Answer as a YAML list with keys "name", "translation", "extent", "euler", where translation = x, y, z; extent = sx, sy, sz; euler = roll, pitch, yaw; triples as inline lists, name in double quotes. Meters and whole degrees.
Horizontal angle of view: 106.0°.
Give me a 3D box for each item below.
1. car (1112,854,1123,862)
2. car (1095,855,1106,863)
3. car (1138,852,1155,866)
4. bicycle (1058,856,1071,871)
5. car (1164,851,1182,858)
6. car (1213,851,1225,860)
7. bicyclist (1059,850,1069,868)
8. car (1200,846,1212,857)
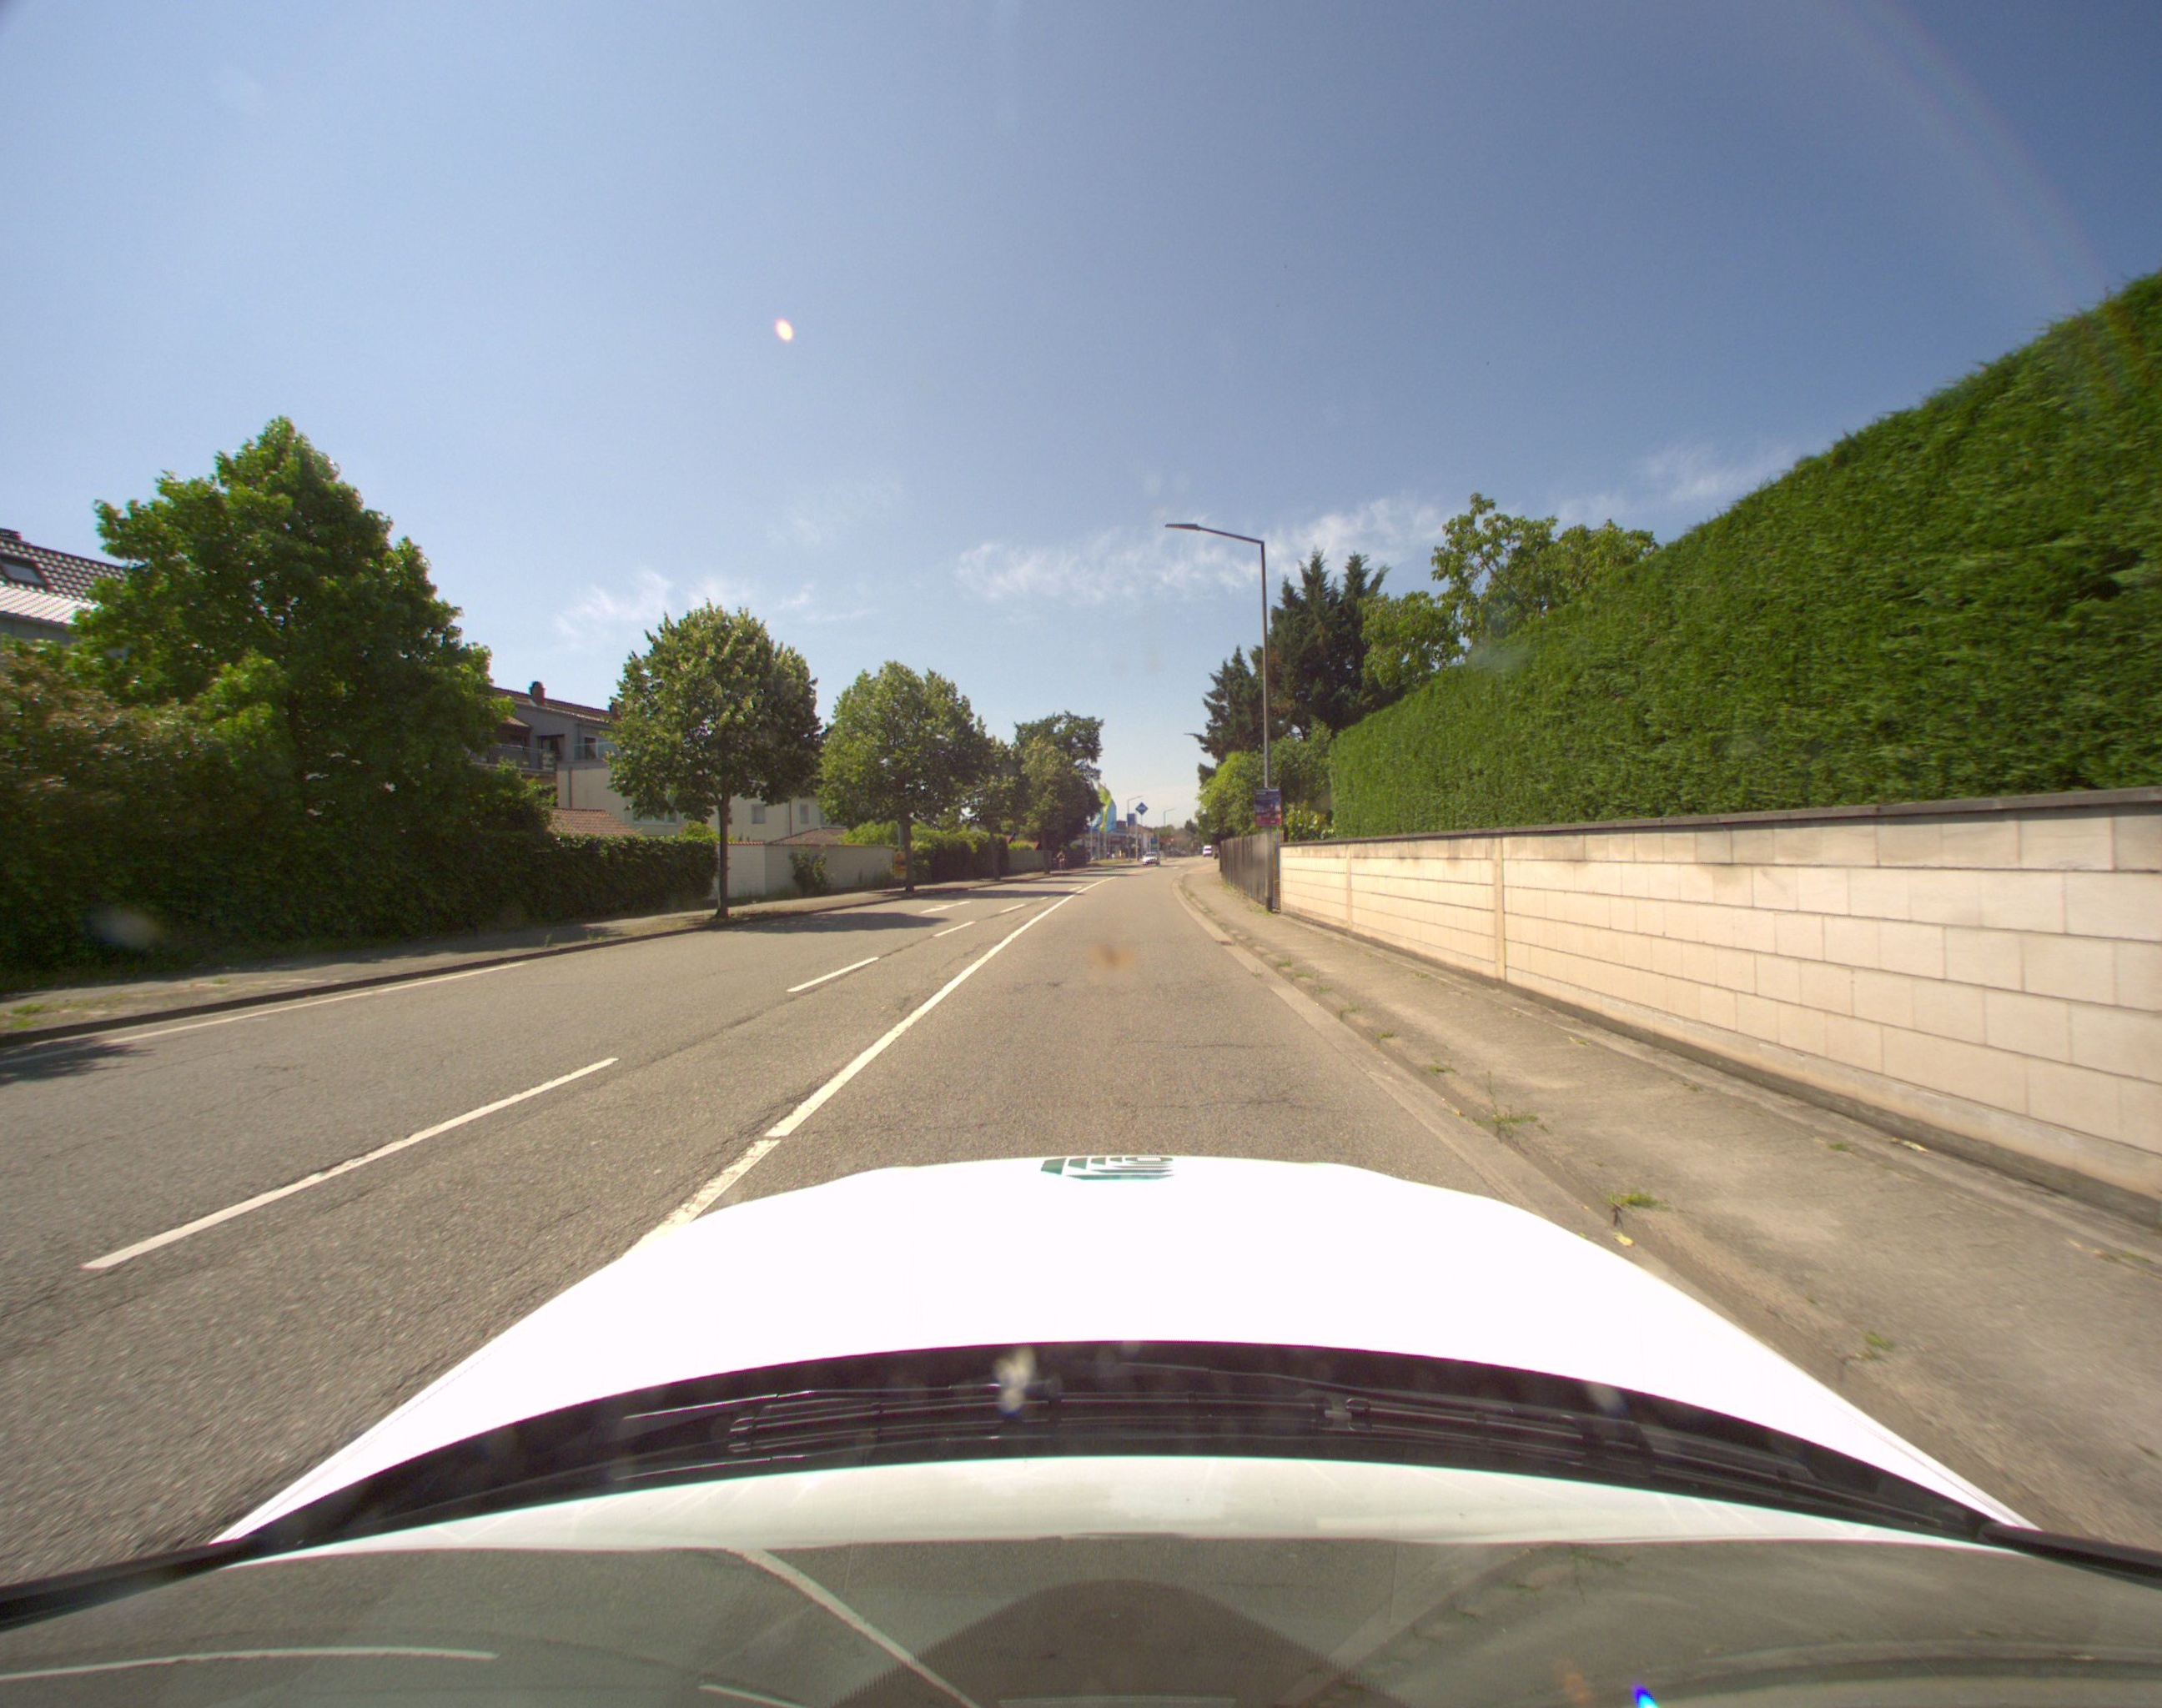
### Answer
- name: "car"
  translation: [7.192, 0.827, 159.750]
  extent: [1.607, 1.420, 3.721]
  euler: [-3, 0, 9]
- name: "car"
  translation: [3.847, 0.954, 159.894]
  extent: [1.607, 1.420, 3.721]
  euler: [-3, 0, 9]
- name: "car"
  translation: [7.476, 0.542, 92.207]
  extent: [1.602, 1.482, 3.717]
  euler: [-1, 0, 9]
- name: "bicycle"
  translation: [-1.307, 0.748, 64.380]
  extent: [0.628, 1.180, 1.820]
  euler: [-2, 0, 9]
- name: "car"
  translation: [21.212, 0.081, 187.809]
  extent: [3.963, 1.508, 1.559]
  euler: [-1, 0, 9]
- name: "car"
  translation: [22.825, 0.218, 134.523]
  extent: [1.654, 1.455, 3.484]
  euler: [-1, 0, 13]
- name: "bicyclist"
  translation: [-1.323, 0.367, 64.346]
  extent: [0.625, 1.408, 0.678]
  euler: [-2, 0, 8]
- name: "car"
  translation: [29.433, -0.567, 191.464]
  extent: [1.979, 2.423, 5.971]
  euler: [0, -1, 15]
